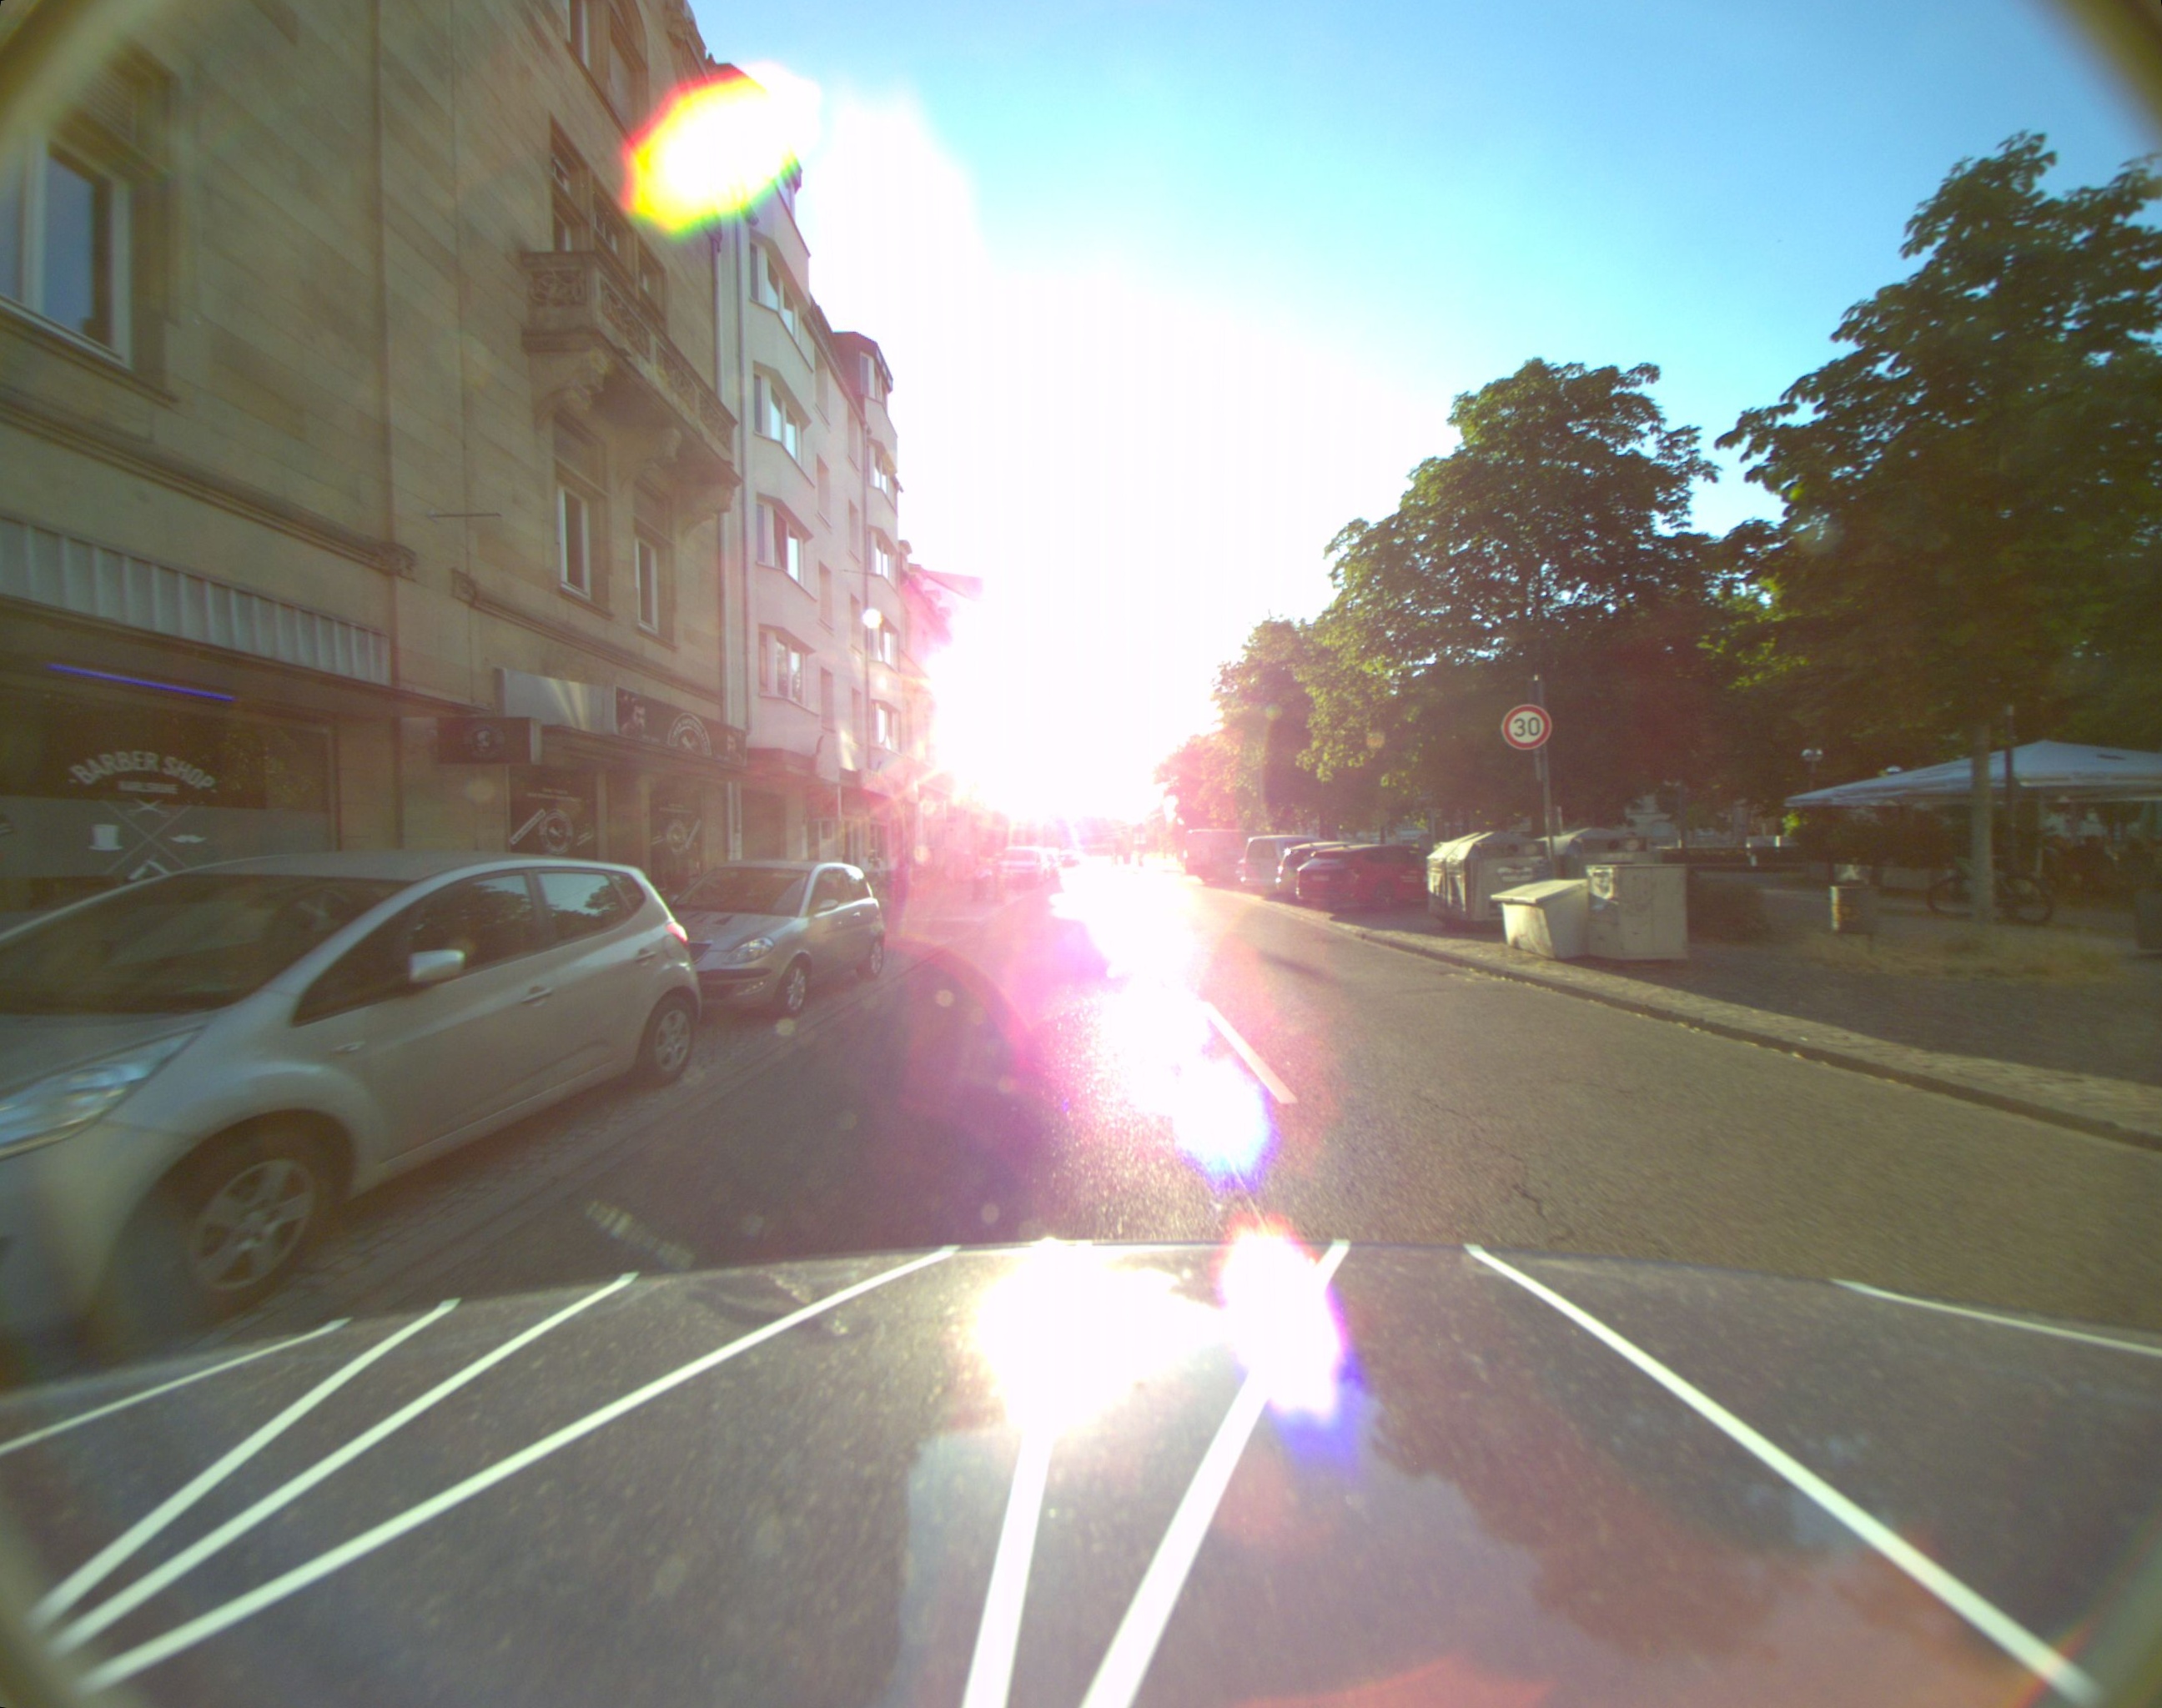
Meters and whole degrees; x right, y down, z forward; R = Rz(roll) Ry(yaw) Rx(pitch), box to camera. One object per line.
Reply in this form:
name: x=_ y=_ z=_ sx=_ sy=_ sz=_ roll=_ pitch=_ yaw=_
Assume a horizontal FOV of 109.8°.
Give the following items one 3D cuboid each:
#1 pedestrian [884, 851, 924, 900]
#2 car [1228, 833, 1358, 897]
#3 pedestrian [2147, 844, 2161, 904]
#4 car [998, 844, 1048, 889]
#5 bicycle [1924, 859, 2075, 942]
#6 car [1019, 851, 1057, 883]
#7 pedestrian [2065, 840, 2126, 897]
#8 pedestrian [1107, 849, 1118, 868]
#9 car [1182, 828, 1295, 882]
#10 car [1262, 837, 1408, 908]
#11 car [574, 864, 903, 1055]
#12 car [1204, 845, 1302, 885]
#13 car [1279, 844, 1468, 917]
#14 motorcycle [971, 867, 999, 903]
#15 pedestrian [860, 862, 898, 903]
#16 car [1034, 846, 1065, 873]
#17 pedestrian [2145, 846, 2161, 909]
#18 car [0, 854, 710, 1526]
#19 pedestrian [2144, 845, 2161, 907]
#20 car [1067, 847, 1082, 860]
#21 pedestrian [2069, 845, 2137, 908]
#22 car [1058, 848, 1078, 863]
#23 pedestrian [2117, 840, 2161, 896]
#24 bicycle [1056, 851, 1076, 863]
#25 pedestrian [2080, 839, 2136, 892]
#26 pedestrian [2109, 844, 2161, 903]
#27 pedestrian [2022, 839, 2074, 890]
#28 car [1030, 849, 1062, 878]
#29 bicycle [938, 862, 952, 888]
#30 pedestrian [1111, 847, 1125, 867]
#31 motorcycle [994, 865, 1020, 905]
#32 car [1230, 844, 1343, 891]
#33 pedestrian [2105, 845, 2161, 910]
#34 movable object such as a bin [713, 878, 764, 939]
pedestrian: x=-5.573 y=0.669 z=23.961 sx=0.957 sy=1.478 sz=0.992 roll=-2 pitch=1 yaw=1
car: x=6.878 y=0.312 z=24.540 sx=4.007 sy=1.867 sz=1.866 roll=-2 pitch=1 yaw=-34
pedestrian: x=21.323 y=0.393 z=14.735 sx=0.534 sy=1.167 sz=0.527 roll=1 pitch=1 yaw=9
car: x=-2.565 y=0.519 z=34.487 sx=1.714 sy=1.824 sz=4.306 roll=-2 pitch=0 yaw=2
bicycle: x=13.142 y=0.629 z=10.942 sx=0.360 sy=1.062 sz=1.812 roll=-2 pitch=0 yaw=13
car: x=-2.247 y=0.657 z=40.680 sx=1.671 sy=1.535 sz=3.883 roll=-2 pitch=0 yaw=1
pedestrian: x=21.256 y=0.289 z=15.926 sx=0.534 sy=1.167 sz=0.527 roll=1 pitch=1 yaw=9
pedestrian: x=2.413 y=0.348 z=58.064 sx=0.612 sy=1.356 sz=0.565 roll=-1 pitch=1 yaw=38
car: x=7.198 y=0.008 z=34.788 sx=4.619 sy=2.238 sz=2.198 roll=-3 pitch=1 yaw=-25
car: x=7.142 y=0.447 z=21.253 sx=4.006 sy=1.686 sz=1.745 roll=-3 pitch=1 yaw=-34
car: x=-3.435 y=0.933 z=8.559 sx=1.684 sy=1.552 sz=4.001 roll=1 pitch=0 yaw=4
car: x=7.148 y=0.431 z=31.366 sx=4.007 sy=1.459 sz=1.878 roll=-2 pitch=1 yaw=-40
car: x=6.867 y=0.539 z=17.821 sx=4.005 sy=1.477 sz=1.995 roll=-1 pitch=1 yaw=-28
motorcycle: x=-3.238 y=1.026 z=25.759 sx=0.589 sy=1.117 sz=2.210 roll=-1 pitch=0 yaw=1
pedestrian: x=-6.124 y=0.859 z=23.004 sx=0.741 sy=1.212 sz=0.792 roll=1 pitch=0 yaw=31
car: x=-2.149 y=0.347 z=52.903 sx=1.797 sy=1.781 sz=4.091 roll=-1 pitch=1 yaw=2
pedestrian: x=19.881 y=0.431 z=13.711 sx=0.534 sy=1.149 sz=0.526 roll=1 pitch=2 yaw=9
car: x=-3.690 y=0.898 z=3.728 sx=1.700 sy=1.759 sz=4.000 roll=-1 pitch=0 yaw=1
pedestrian: x=20.637 y=0.411 z=14.287 sx=0.534 sy=1.167 sz=0.527 roll=1 pitch=1 yaw=9
car: x=-0.786 y=-0.099 z=94.482 sx=1.645 sy=1.519 sz=4.000 roll=-2 pitch=0 yaw=2
pedestrian: x=19.334 y=0.417 z=14.380 sx=0.534 sy=1.147 sz=0.527 roll=1 pitch=1 yaw=9
car: x=-1.348 y=0.175 z=80.540 sx=1.794 sy=1.499 sz=3.921 roll=-2 pitch=0 yaw=2
pedestrian: x=22.913 y=0.292 z=16.334 sx=0.534 sy=1.167 sz=0.526 roll=-1 pitch=1 yaw=9
bicycle: x=-1.349 y=0.288 z=68.067 sx=1.793 sy=0.984 sz=0.541 roll=2 pitch=0 yaw=-6
pedestrian: x=22.919 y=0.251 z=16.964 sx=0.534 sy=1.167 sz=0.526 roll=-1 pitch=1 yaw=9
pedestrian: x=21.355 y=0.383 z=15.305 sx=0.534 sy=1.167 sz=0.527 roll=1 pitch=1 yaw=9
pedestrian: x=22.586 y=0.236 z=17.760 sx=0.534 sy=1.167 sz=0.526 roll=-1 pitch=1 yaw=9
car: x=-2.140 y=0.536 z=46.982 sx=1.661 sy=1.655 sz=4.108 roll=-2 pitch=1 yaw=1
bicycle: x=-5.737 y=0.868 z=32.088 sx=0.456 sy=1.006 sz=1.710 roll=-2 pitch=2 yaw=-13
pedestrian: x=2.866 y=0.231 z=58.871 sx=0.693 sy=1.550 sz=0.701 roll=-2 pitch=1 yaw=32
motorcycle: x=-2.436 y=0.989 z=25.164 sx=0.589 sy=1.193 sz=2.210 roll=-2 pitch=0 yaw=1
car: x=7.570 y=0.451 z=27.868 sx=4.007 sy=1.483 sz=1.845 roll=-3 pitch=1 yaw=-37
pedestrian: x=19.267 y=0.424 z=13.823 sx=0.534 sy=1.149 sz=0.527 roll=1 pitch=1 yaw=9
movable object such as a bin: x=-6.419 y=1.014 z=14.251 sx=0.597 sy=1.078 sz=0.664 roll=-2 pitch=1 yaw=2
